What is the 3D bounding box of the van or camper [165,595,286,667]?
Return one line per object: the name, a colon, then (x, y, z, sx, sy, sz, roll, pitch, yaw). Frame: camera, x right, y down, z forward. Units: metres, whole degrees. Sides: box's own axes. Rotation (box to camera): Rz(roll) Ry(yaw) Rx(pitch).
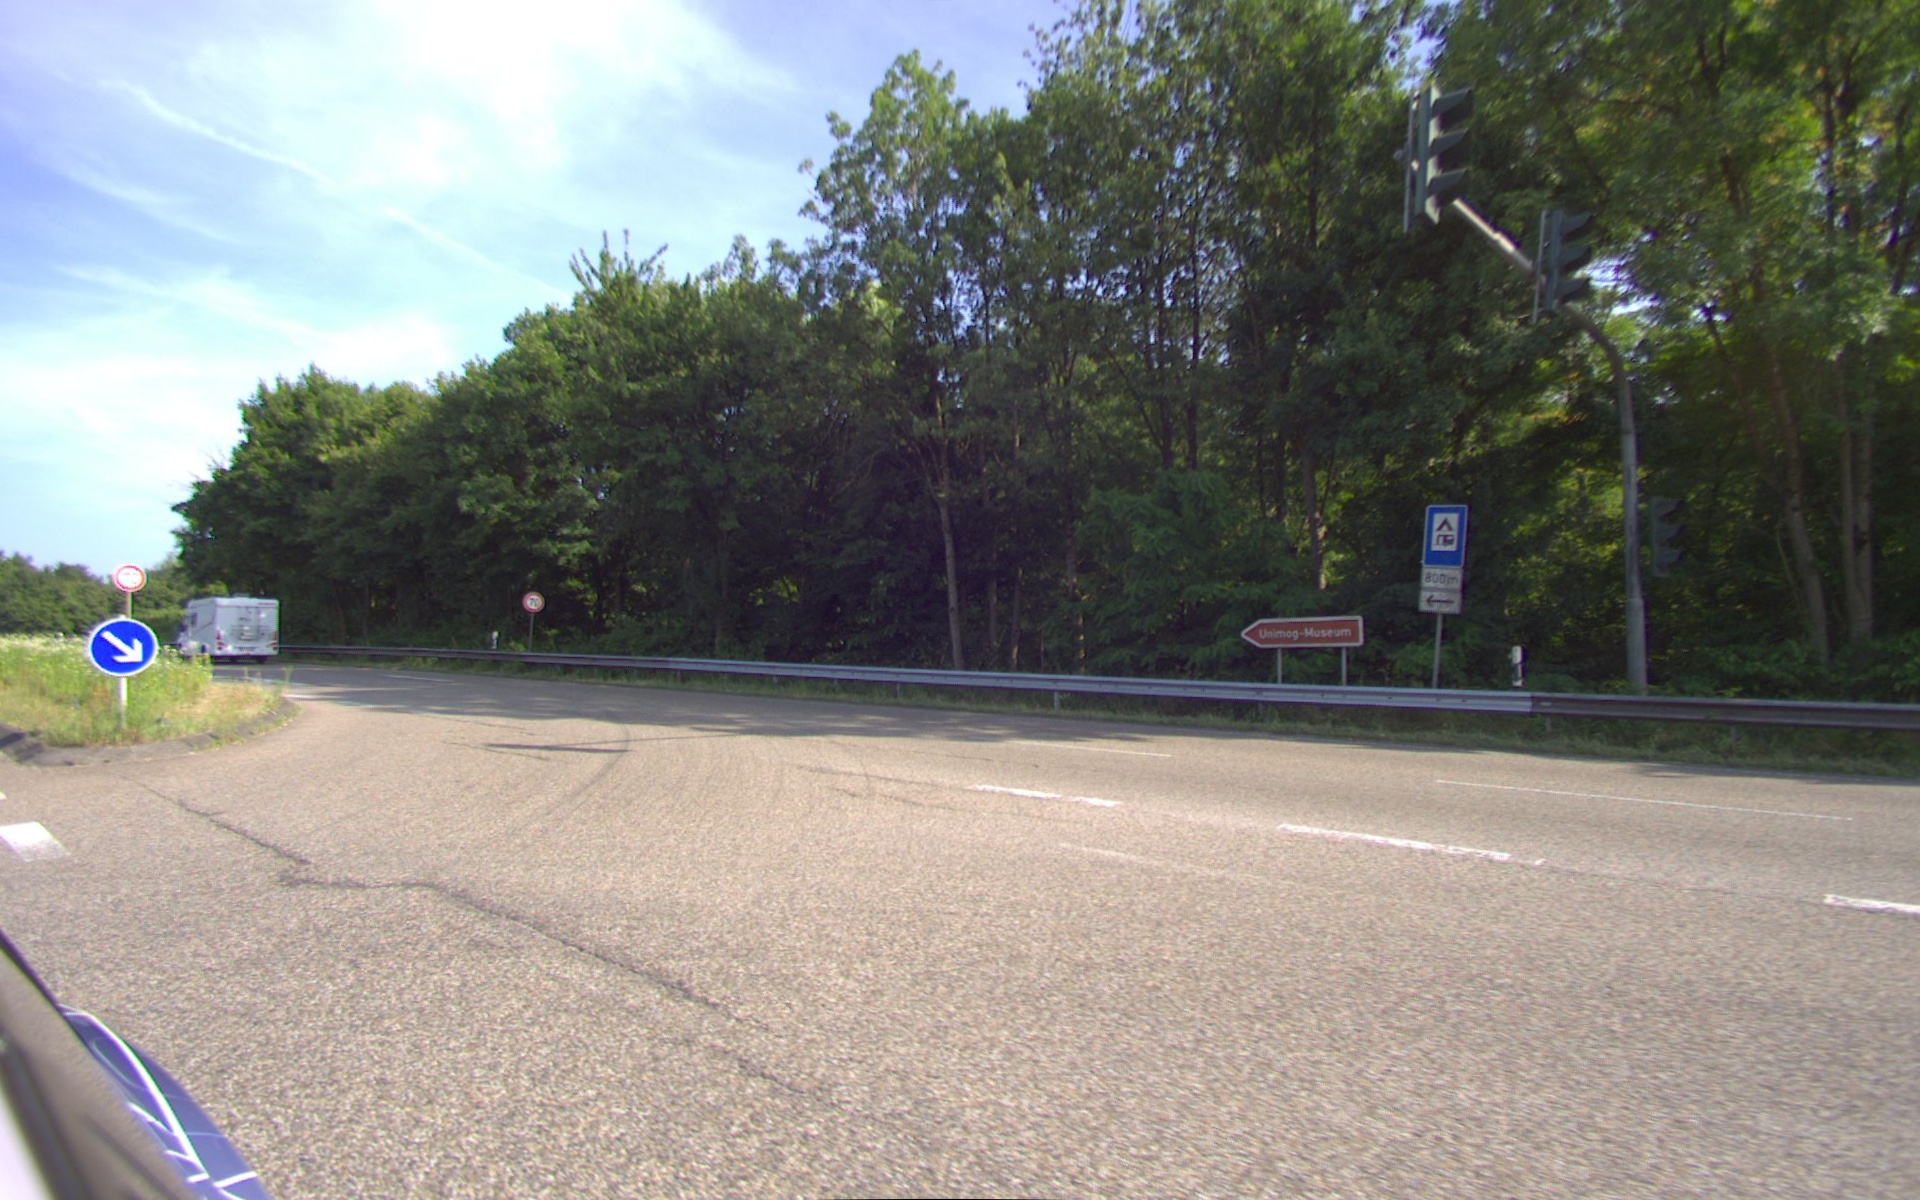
van or camper: (-29.824, 1.281, 41.000, 6.431, 2.732, 2.388, -1, -4, 40)
